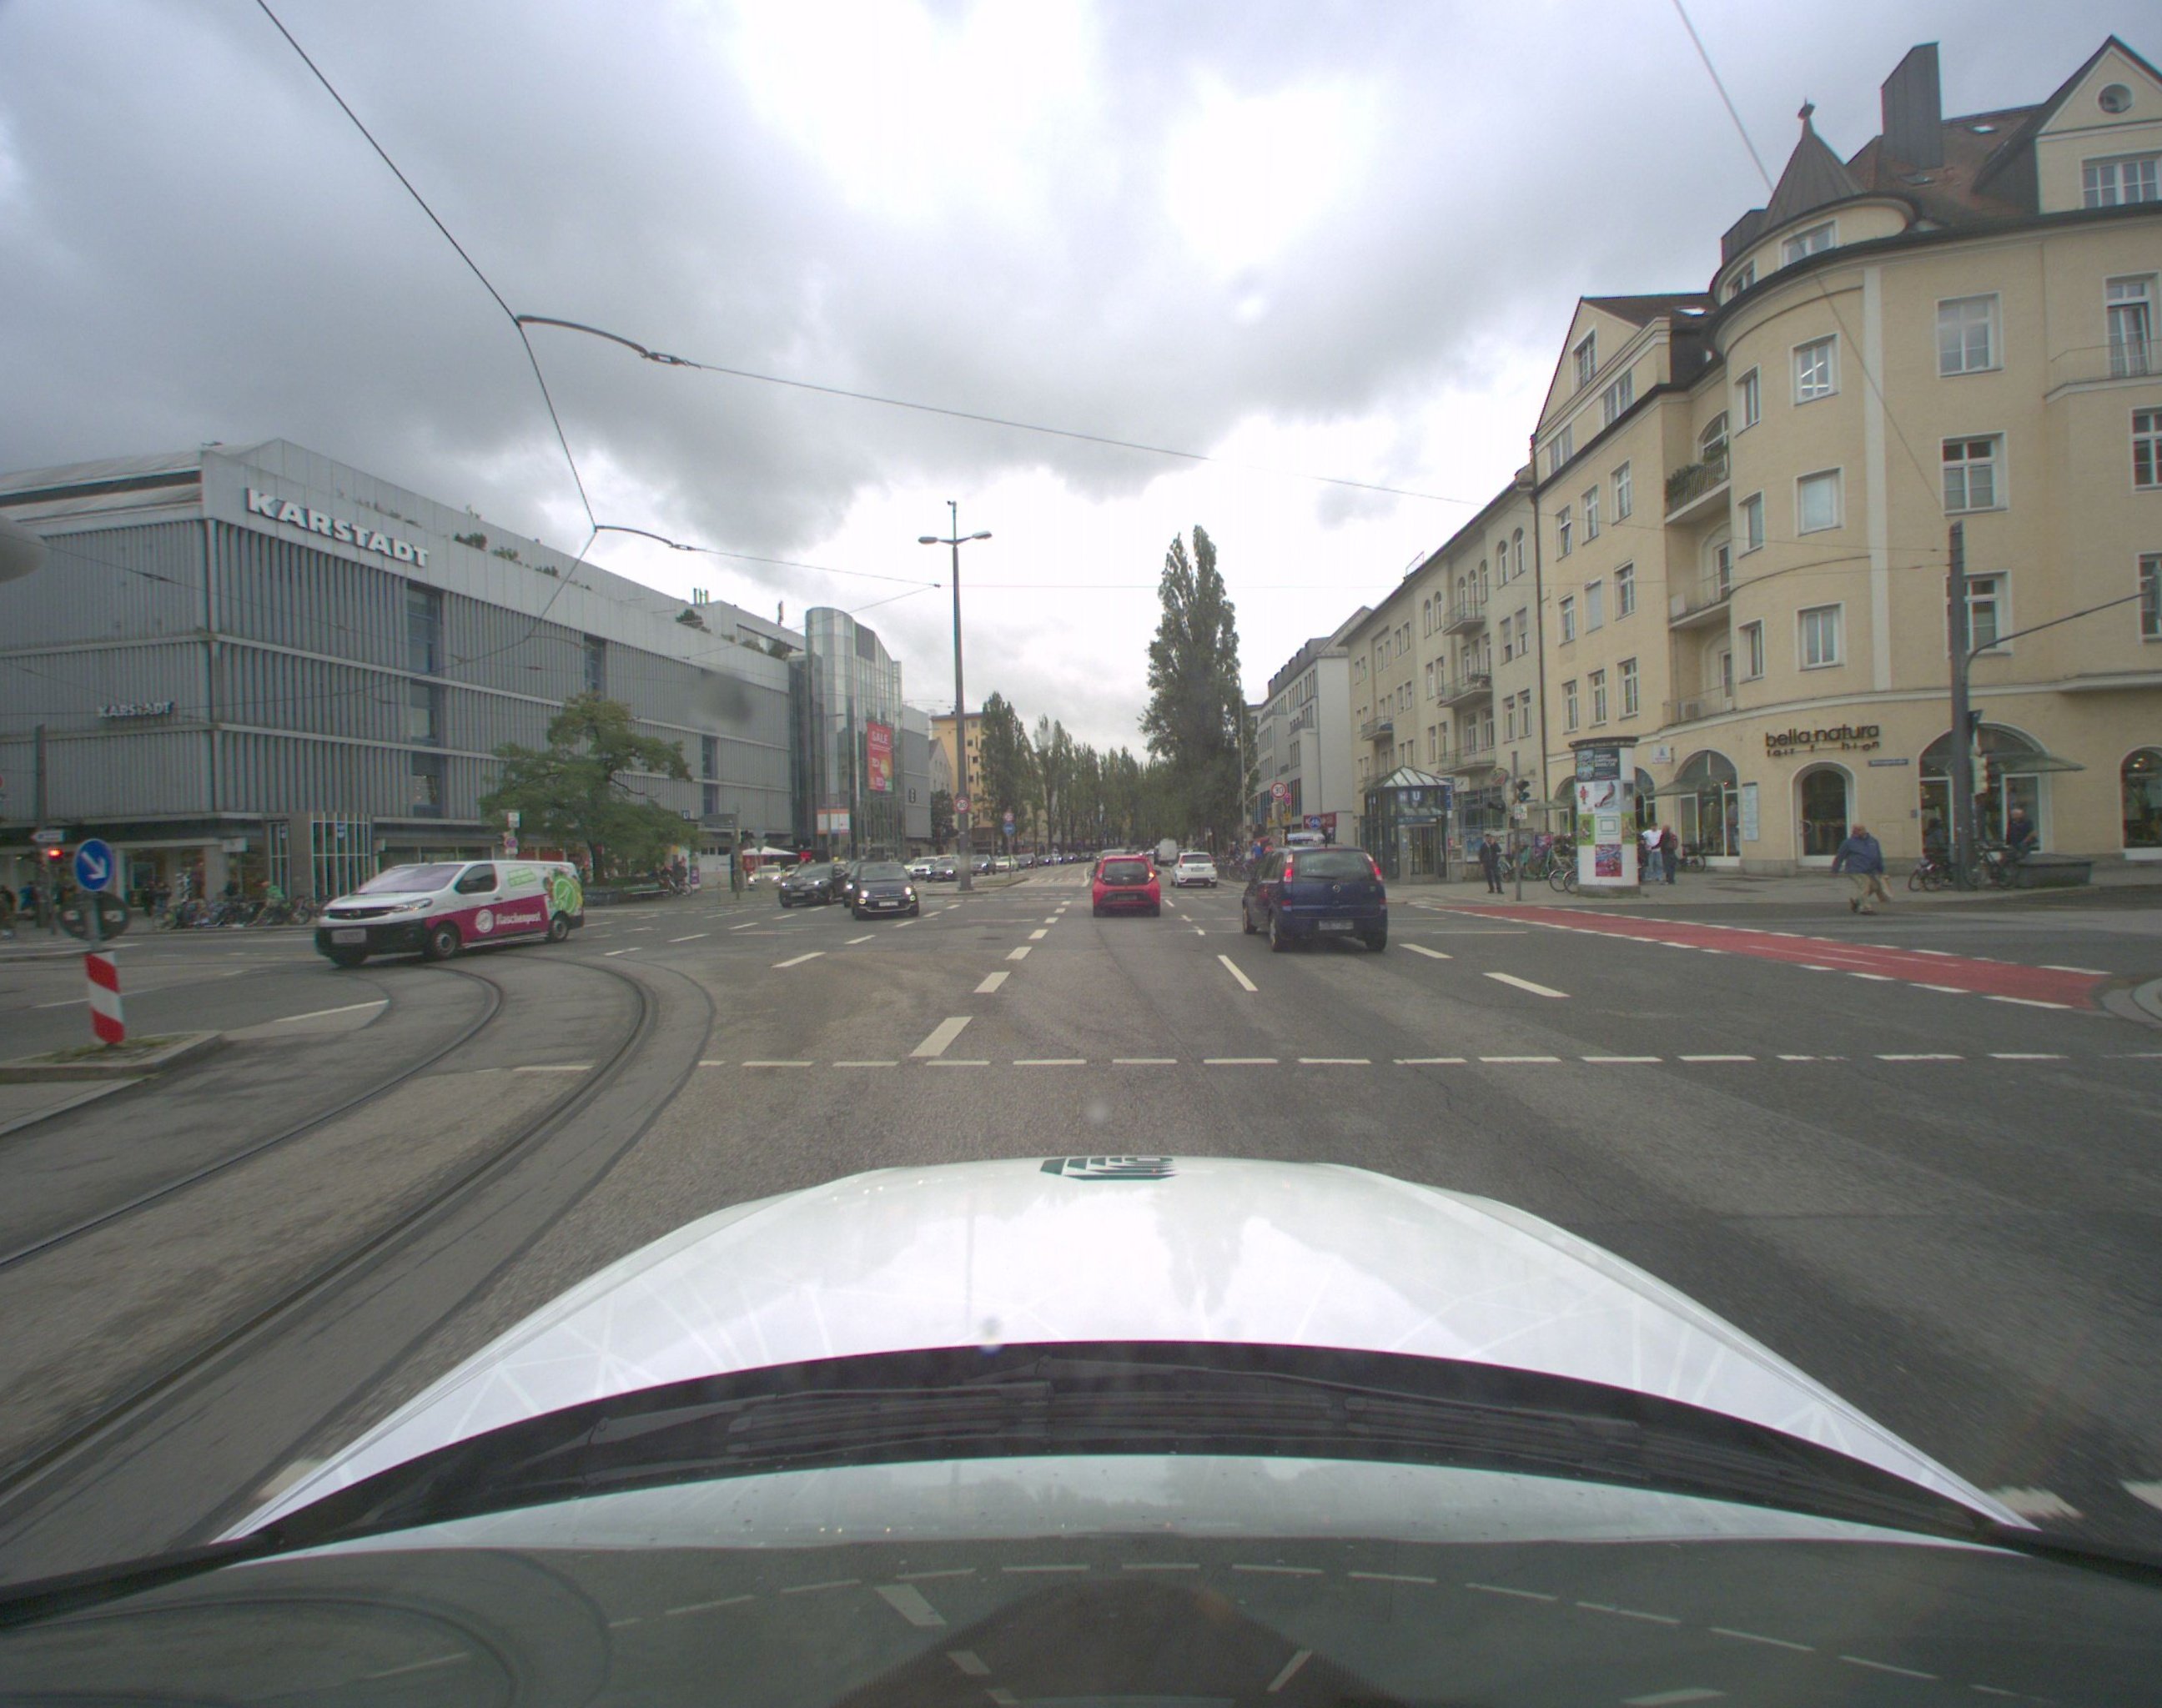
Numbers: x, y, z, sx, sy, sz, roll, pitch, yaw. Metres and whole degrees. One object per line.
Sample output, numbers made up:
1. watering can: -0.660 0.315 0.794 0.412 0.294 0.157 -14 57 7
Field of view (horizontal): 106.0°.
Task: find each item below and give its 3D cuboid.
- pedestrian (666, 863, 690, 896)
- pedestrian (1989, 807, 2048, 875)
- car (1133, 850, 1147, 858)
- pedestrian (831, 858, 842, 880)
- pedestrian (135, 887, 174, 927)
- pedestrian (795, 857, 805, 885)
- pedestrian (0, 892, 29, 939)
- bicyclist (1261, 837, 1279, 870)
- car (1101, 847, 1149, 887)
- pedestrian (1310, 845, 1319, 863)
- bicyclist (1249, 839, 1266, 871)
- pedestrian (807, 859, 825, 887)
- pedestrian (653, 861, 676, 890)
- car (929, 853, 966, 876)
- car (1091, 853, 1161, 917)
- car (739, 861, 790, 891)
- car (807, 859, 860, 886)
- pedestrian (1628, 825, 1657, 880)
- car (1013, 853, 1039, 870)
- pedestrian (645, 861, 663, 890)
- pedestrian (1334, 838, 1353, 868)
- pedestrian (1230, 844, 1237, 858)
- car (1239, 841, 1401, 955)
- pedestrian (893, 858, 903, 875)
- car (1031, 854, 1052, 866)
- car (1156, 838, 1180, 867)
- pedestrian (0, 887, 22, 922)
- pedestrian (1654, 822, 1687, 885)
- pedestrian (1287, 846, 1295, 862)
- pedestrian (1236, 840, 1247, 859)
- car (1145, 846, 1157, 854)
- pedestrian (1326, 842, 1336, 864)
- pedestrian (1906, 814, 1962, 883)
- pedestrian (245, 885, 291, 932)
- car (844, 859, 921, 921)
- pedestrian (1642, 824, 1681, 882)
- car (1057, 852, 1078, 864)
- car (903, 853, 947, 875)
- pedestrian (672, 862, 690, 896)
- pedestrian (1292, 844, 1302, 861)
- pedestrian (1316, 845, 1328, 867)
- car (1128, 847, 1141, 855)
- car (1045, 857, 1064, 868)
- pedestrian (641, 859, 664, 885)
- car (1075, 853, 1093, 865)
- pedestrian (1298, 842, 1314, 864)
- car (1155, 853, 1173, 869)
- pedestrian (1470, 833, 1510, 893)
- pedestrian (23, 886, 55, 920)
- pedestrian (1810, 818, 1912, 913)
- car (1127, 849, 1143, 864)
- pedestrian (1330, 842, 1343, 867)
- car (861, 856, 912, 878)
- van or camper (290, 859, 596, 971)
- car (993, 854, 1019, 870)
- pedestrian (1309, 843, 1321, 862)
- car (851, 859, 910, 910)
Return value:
1. pedestrian: -21.208 1.333 42.826 0.765 1.654 0.754 -2 0 13
2. pedestrian: 24.336 -0.352 21.149 0.676 1.705 0.749 -2 3 11
3. car: 12.231 -0.010 168.988 1.979 1.691 4.431 -2 0 14
4. pedestrian: -20.546 1.253 68.474 0.553 1.817 0.630 -2 0 13
5. pedestrian: -40.869 2.348 35.938 0.782 1.687 0.786 -2 0 6
6. pedestrian: -17.693 1.075 51.300 0.441 1.759 0.358 -2 0 37
7. pedestrian: -38.305 2.190 28.922 0.781 1.642 0.861 -2 0 13
8. bicyclist: 9.767 -0.032 42.078 0.611 1.657 1.252 -2 0 2
9. car: 1.924 0.541 36.468 1.986 1.618 4.001 -2 0 1
10. pedestrian: 19.035 0.009 66.313 0.572 1.402 0.580 -2 0 2
11. bicyclist: 10.354 0.048 47.822 0.759 1.869 1.133 -2 0 2
12. pedestrian: -16.688 1.194 51.218 0.766 1.690 0.753 -2 0 6
13. pedestrian: -22.577 1.176 44.134 0.763 1.554 0.756 -2 0 33
14. car: -12.914 0.984 79.180 1.983 2.013 5.533 -2 1 6
15. car: 1.114 0.721 20.415 1.598 1.461 3.132 -1 0 3
16. car: -18.934 1.289 48.970 1.994 1.536 4.399 -3 1 -11
17. car: -15.996 1.161 52.865 1.893 1.543 4.396 -2 0 3
18. pedestrian: 17.101 -0.050 24.823 0.556 1.609 0.570 -2 3 15
19. car: -5.823 0.776 86.549 1.926 1.739 4.596 -2 0 6
20. pedestrian: -22.601 1.121 43.121 0.754 1.493 0.765 -2 0 -33
21. pedestrian: 15.692 -0.044 48.692 0.810 1.727 0.759 -3 0 2
22. pedestrian: 17.494 -0.333 93.555 0.710 1.558 0.676 -2 0 2
23. car: 3.709 0.622 13.251 1.696 1.589 3.558 -1 0 2
24. pedestrian: -18.351 1.268 81.825 0.646 1.691 0.714 -2 0 14
25. car: -4.756 0.671 98.710 1.835 1.382 4.608 -2 0 6
26. car: 8.774 -0.150 82.725 2.098 2.718 4.807 -2 0 3
27. pedestrian: -49.177 2.293 37.246 0.675 1.552 0.658 -2 0 10
28. pedestrian: 17.003 -0.012 23.493 0.642 1.751 0.640 -1 3 24
29. pedestrian: 18.688 -0.002 72.522 0.596 1.402 0.580 -2 0 2
30. pedestrian: 14.547 -0.385 73.735 0.787 1.727 0.764 -2 0 2
31. car: 15.672 -0.844 181.828 1.979 1.691 4.431 -2 0 14
32. pedestrian: 17.286 -0.048 56.378 0.501 1.484 0.468 -2 0 37
33. pedestrian: 21.780 -0.150 20.816 0.676 1.684 0.749 -2 3 11
34. pedestrian: -29.878 1.991 29.937 0.840 1.619 0.806 -2 0 -13
35. car: -5.486 0.912 22.234 1.551 1.445 3.514 -4 1 -21
36. pedestrian: 17.736 -0.048 24.885 0.648 1.705 0.727 -4 3 -28
37. car: -1.787 0.533 112.843 1.981 1.534 4.601 -2 0 10
38. car: -13.054 0.823 68.373 1.979 1.679 4.200 -2 0 14
39. pedestrian: -21.577 1.329 43.979 0.752 1.773 0.767 -2 0 -22
40. pedestrian: 19.918 -0.143 75.052 0.710 1.558 0.676 -2 0 2
41. pedestrian: 16.574 0.116 55.973 0.573 1.505 0.620 -2 0 33
42. car: 11.867 -0.704 179.832 1.979 1.691 4.431 -2 0 14
43. car: -3.833 1.251 118.479 1.981 1.534 4.477 -2 0 10
44. pedestrian: -22.248 0.935 42.286 0.542 1.275 1.045 -2 0 3
45. car: 0.479 0.801 124.810 1.983 1.691 4.931 -2 0 7
46. pedestrian: 15.764 -0.066 57.016 0.801 1.522 0.805 -2 0 35
47. car: 9.030 0.761 89.018 1.696 1.662 3.558 -2 0 2
48. pedestrian: 11.902 0.251 23.718 0.826 1.691 0.825 -2 0 39
49. pedestrian: -48.977 2.291 38.280 0.675 1.552 0.658 -2 0 10
50. pedestrian: 15.046 0.212 15.747 0.929 1.755 1.067 -2 0 6
51. car: 6.809 0.328 102.905 1.985 1.838 4.004 -2 0 4
52. pedestrian: 17.368 0.027 55.302 0.594 1.669 0.690 -2 0 37
53. car: -14.757 0.943 62.140 1.981 1.508 4.649 -2 0 11
54. van or camper: -12.540 1.066 16.665 1.922 1.826 5.439 -2 0 0
55. car: -6.890 0.728 75.083 1.758 1.421 4.642 -2 0 3
56. pedestrian: 19.896 -0.101 69.272 0.730 1.602 0.742 -2 0 2
57. car: -6.509 0.946 26.657 1.502 1.534 2.830 -2 0 -7
